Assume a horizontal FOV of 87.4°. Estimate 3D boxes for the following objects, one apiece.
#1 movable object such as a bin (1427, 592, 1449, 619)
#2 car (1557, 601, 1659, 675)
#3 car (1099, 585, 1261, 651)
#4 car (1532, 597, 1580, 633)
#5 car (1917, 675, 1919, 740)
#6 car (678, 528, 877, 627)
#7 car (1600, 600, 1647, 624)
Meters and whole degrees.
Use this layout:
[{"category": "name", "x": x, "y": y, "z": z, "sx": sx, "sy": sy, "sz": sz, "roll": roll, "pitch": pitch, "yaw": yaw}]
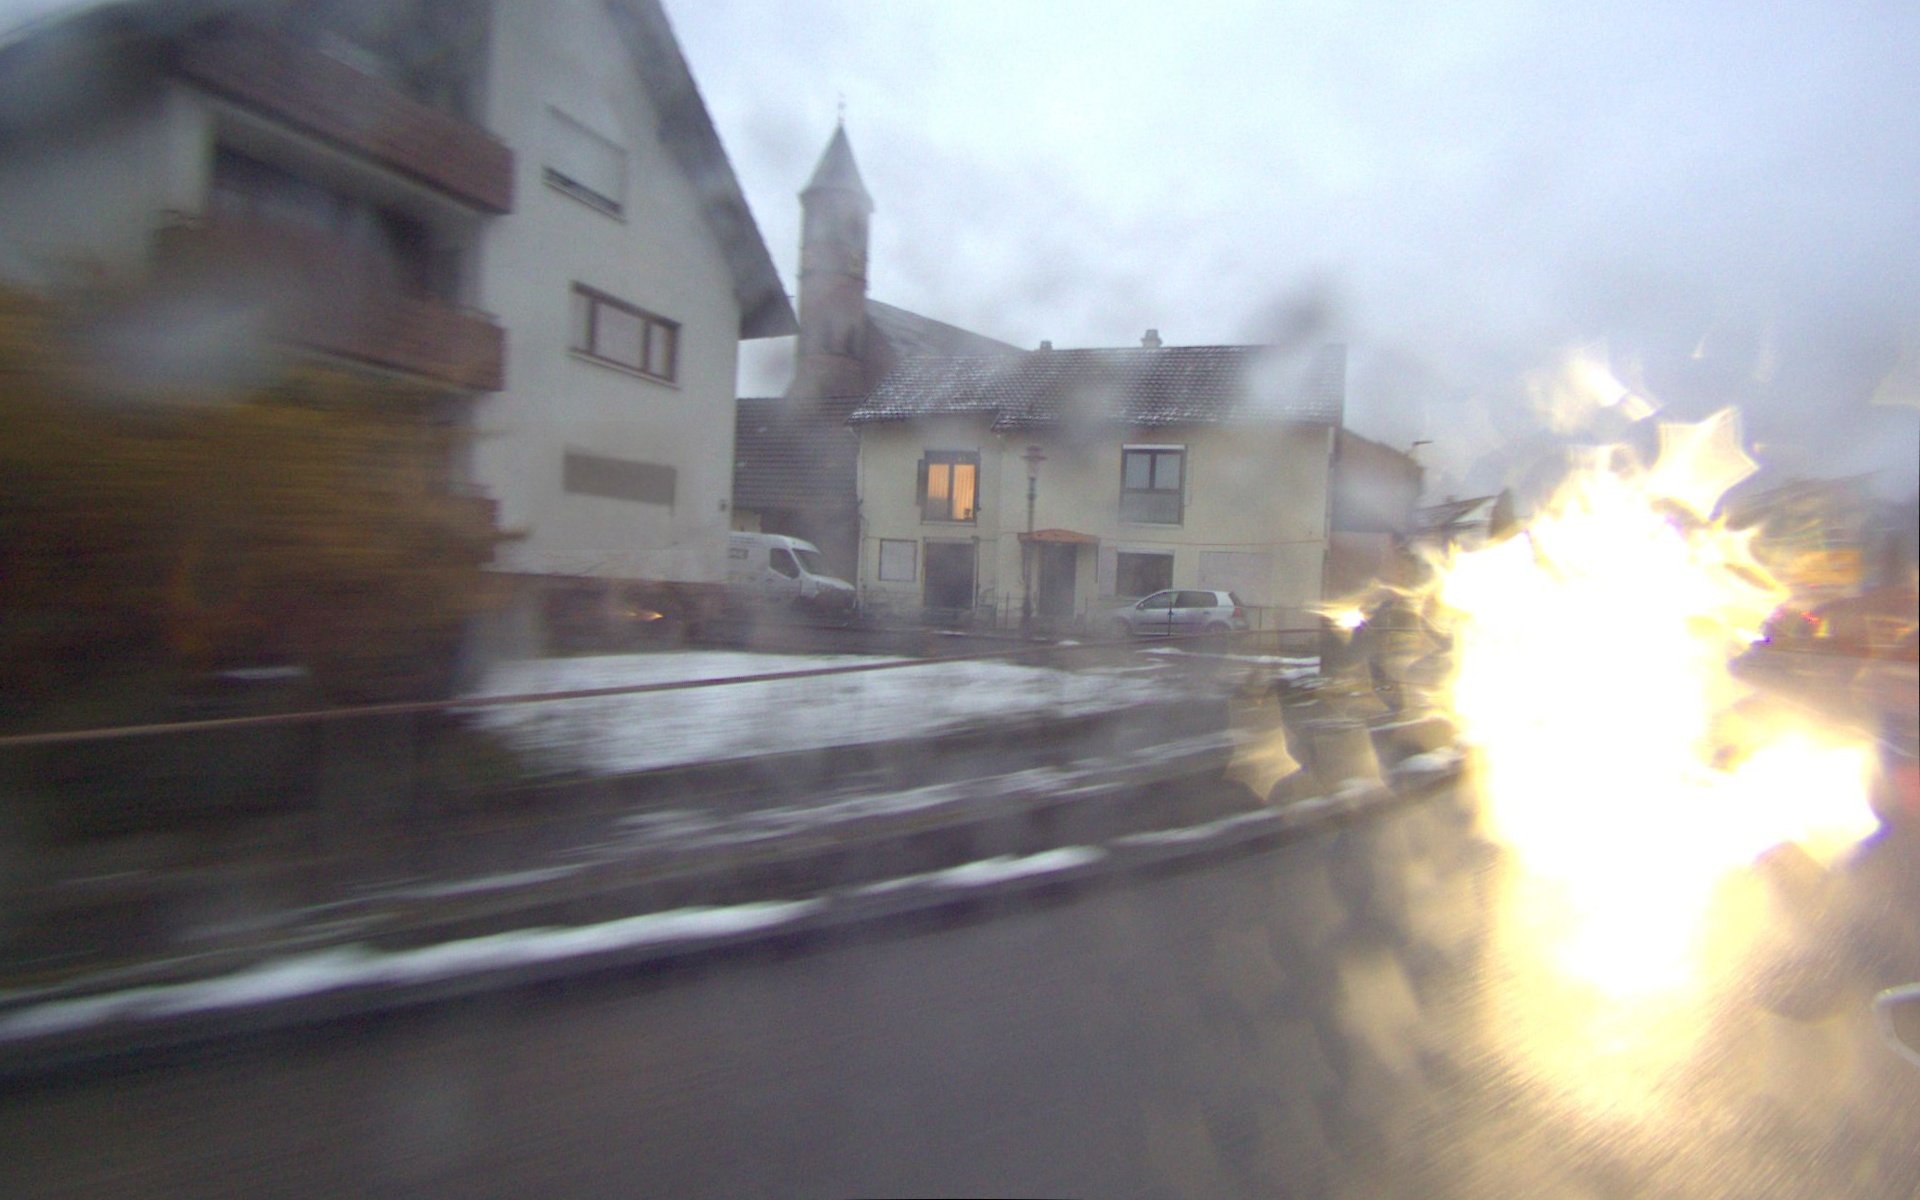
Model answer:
[{"category": "movable object such as a bin", "x": 28.389, "y": 0.333, "z": 59.657, "sx": 1.079, "sy": 1.564, "sz": 1.287, "roll": 2, "pitch": 1, "yaw": 27}, {"category": "car", "x": 16.707, "y": 0.897, "z": 26.100, "sx": 1.849, "sy": 1.634, "sz": 4.594, "roll": 1, "pitch": 2, "yaw": 29}, {"category": "car", "x": 5.817, "y": 0.427, "z": 26.524, "sx": 3.921, "sy": 1.482, "sz": 1.820, "roll": 3, "pitch": 1, "yaw": 21}, {"category": "car", "x": 30.588, "y": 0.718, "z": 51.668, "sx": 1.883, "sy": 1.675, "sz": 3.993, "roll": 3, "pitch": 2, "yaw": 29}, {"category": "car", "x": 11.275, "y": 0.959, "z": 10.273, "sx": 1.525, "sy": 1.485, "sz": 3.687, "roll": 2, "pitch": 1, "yaw": 34}, {"category": "car", "x": -5.270, "y": -0.677, "z": 28.951, "sx": 5.251, "sy": 2.574, "sz": 2.212, "roll": 3, "pitch": 1, "yaw": 24}, {"category": "car", "x": 50.305, "y": 0.883, "z": 76.197, "sx": 1.960, "sy": 1.666, "sz": 4.000, "roll": 3, "pitch": 2, "yaw": 19}]
